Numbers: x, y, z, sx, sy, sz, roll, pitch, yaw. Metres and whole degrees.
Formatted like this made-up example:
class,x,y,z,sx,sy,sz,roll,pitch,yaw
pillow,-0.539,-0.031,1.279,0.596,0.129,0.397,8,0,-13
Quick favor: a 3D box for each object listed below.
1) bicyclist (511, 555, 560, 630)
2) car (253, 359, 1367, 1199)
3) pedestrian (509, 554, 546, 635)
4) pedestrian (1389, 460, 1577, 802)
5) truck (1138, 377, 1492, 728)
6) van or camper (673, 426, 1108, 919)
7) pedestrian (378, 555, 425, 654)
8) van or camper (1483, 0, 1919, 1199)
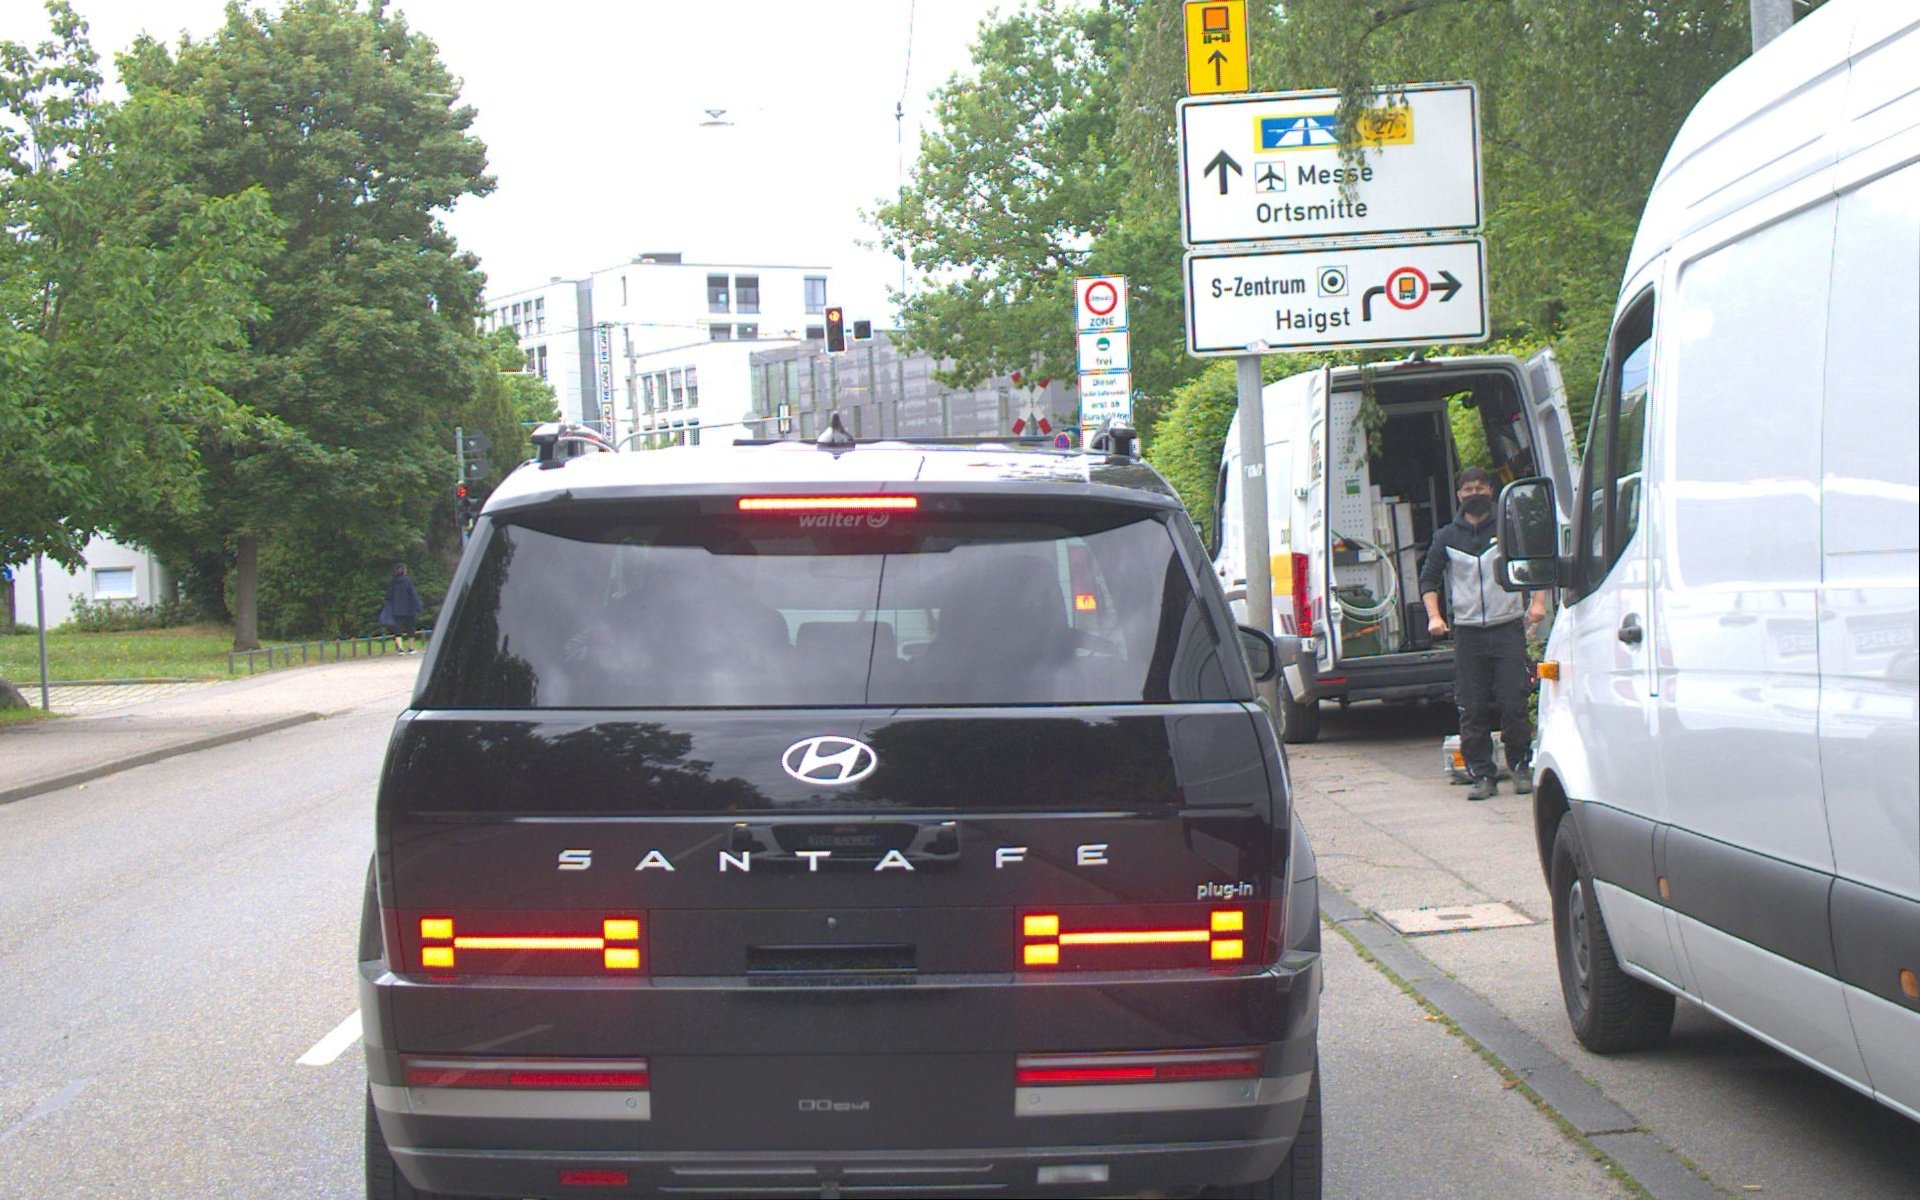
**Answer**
class,x,y,z,sx,sy,sz,roll,pitch,yaw
bicyclist,-9.662,-0.175,78.299,0.829,1.685,0.717,1,0,31
car,-0.275,0.469,7.861,1.889,1.813,4.000,0,1,-1
pedestrian,-9.381,-0.122,74.609,0.738,1.709,0.793,-2,1,-7
pedestrian,2.832,0.157,18.671,0.757,1.791,0.873,-2,1,-6
truck,2.832,-0.380,28.693,1.942,2.553,5.217,-4,1,-4
van or camper,-0.312,0.273,16.381,1.754,2.007,4.000,-2,1,-1
pedestrian,-9.854,0.073,60.621,0.738,1.709,0.793,-2,1,-7
van or camper,2.639,-0.048,7.026,1.993,2.611,6.541,-2,1,-1
